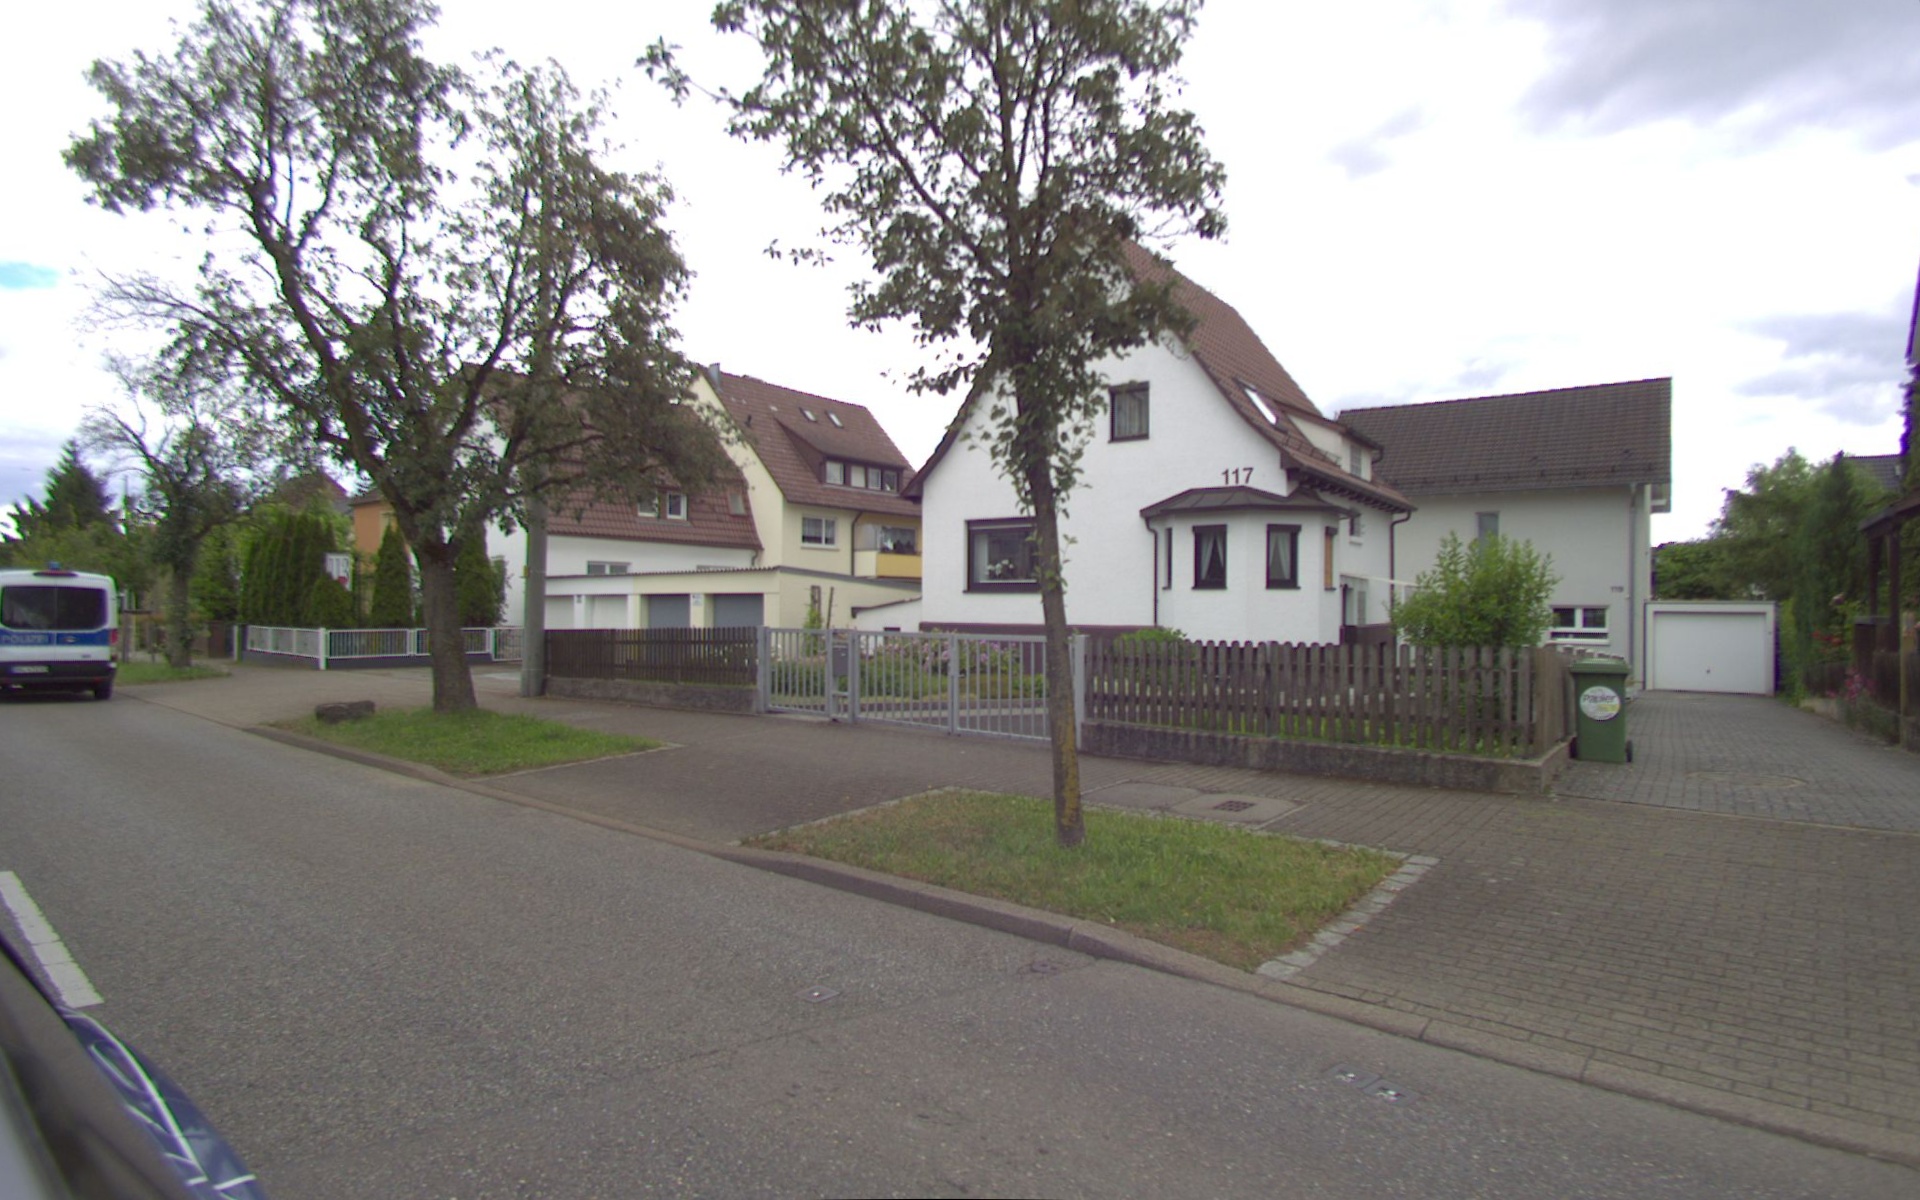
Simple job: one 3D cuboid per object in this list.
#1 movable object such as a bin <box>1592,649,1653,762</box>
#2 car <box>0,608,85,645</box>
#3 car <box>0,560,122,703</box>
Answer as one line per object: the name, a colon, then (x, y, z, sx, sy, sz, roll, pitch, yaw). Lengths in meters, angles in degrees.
movable object such as a bin: (5.862, 0.923, 8.963, 0.428, 0.967, 0.131, -1, -1, 38)
car: (-67.871, 1.923, 73.921, 5.526, 2.583, 2.137, 2, -2, -30)
car: (-19.078, 0.646, 20.752, 5.298, 2.602, 2.051, -1, -3, 42)
